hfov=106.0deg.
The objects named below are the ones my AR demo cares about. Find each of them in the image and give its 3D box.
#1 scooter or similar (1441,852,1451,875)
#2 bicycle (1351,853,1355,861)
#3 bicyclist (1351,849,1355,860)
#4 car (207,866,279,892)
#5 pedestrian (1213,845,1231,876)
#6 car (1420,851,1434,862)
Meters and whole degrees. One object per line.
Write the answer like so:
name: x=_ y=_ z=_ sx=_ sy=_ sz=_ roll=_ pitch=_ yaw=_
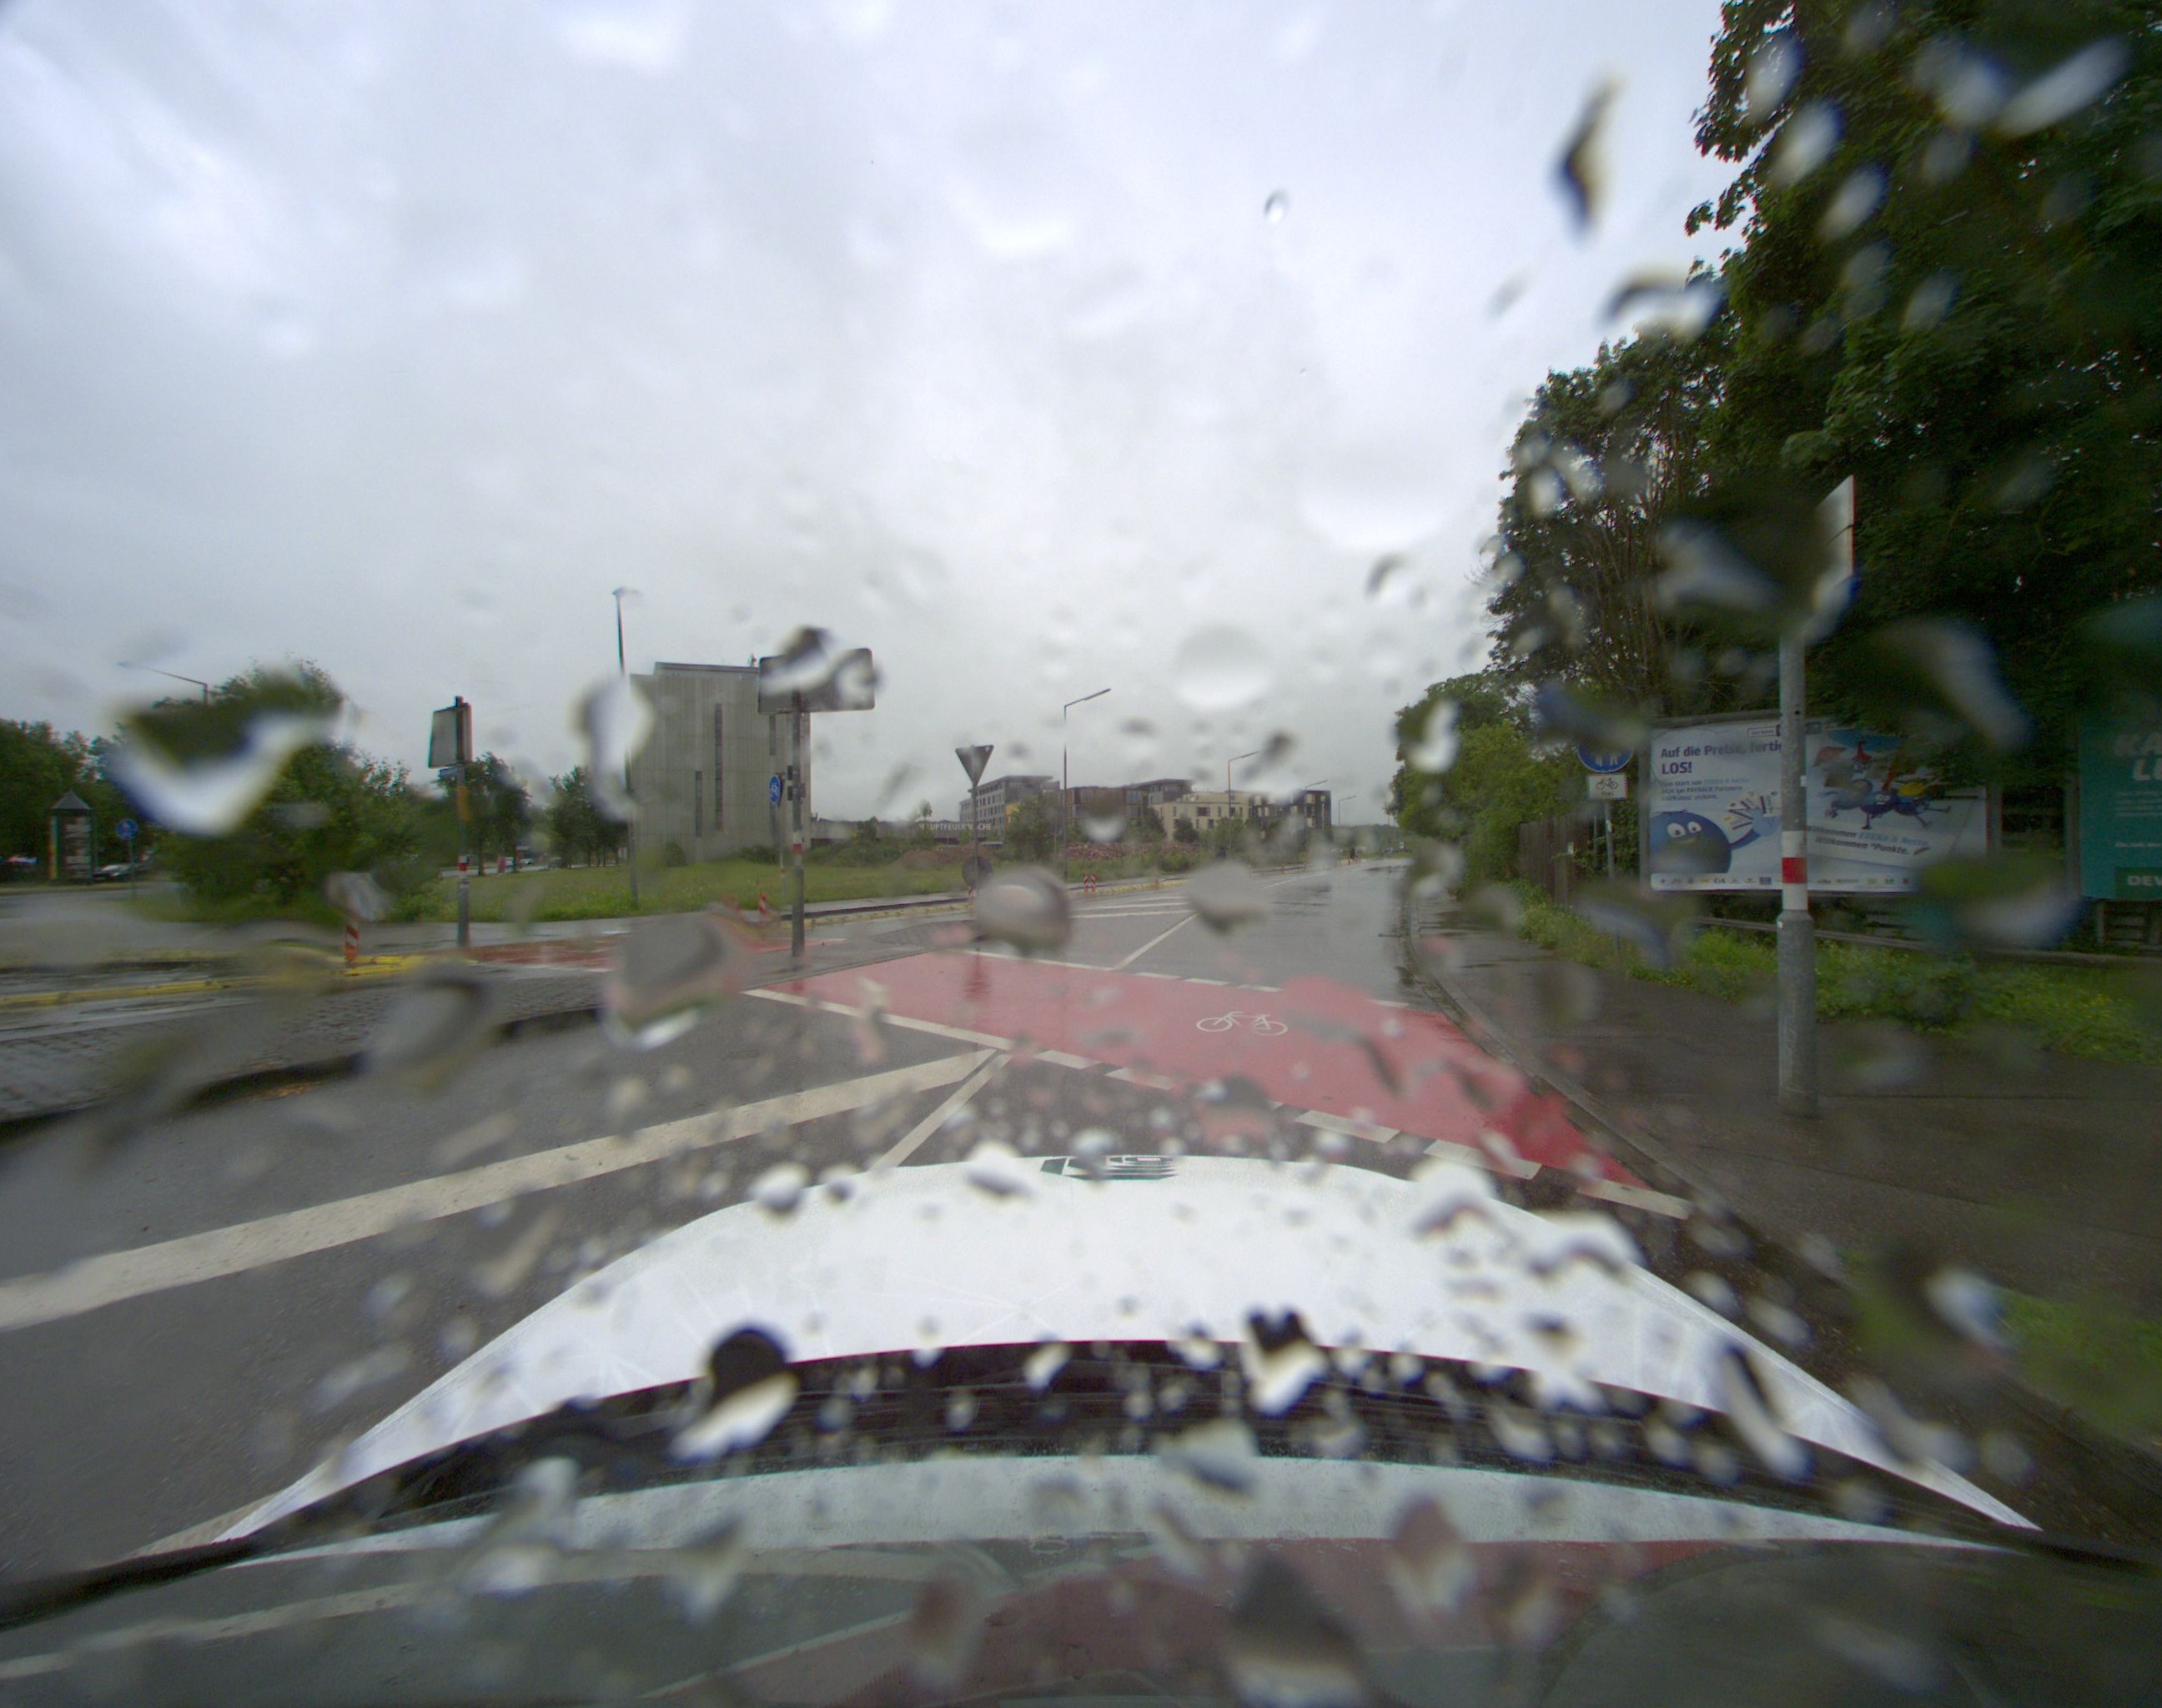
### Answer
scooter or similar: x=20.159 y=0.502 z=44.958 sx=0.486 sy=1.235 sz=1.378 roll=-1 pitch=-1 yaw=24
bicycle: x=33.376 y=0.382 z=99.931 sx=0.423 sy=1.019 sz=1.620 roll=0 pitch=0 yaw=21
bicyclist: x=33.386 y=0.055 z=99.985 sx=0.440 sy=1.404 sz=0.553 roll=-1 pitch=-3 yaw=23
car: x=-54.826 y=1.650 z=53.399 sx=1.686 sy=1.648 sz=3.919 roll=1 pitch=-2 yaw=-20
pedestrian: x=9.374 y=0.429 z=54.240 sx=0.838 sy=2.014 sz=1.138 roll=-1 pitch=-3 yaw=30
car: x=58.838 y=0.455 z=138.349 sx=1.975 sy=1.772 sz=4.023 roll=-1 pitch=0 yaw=26
